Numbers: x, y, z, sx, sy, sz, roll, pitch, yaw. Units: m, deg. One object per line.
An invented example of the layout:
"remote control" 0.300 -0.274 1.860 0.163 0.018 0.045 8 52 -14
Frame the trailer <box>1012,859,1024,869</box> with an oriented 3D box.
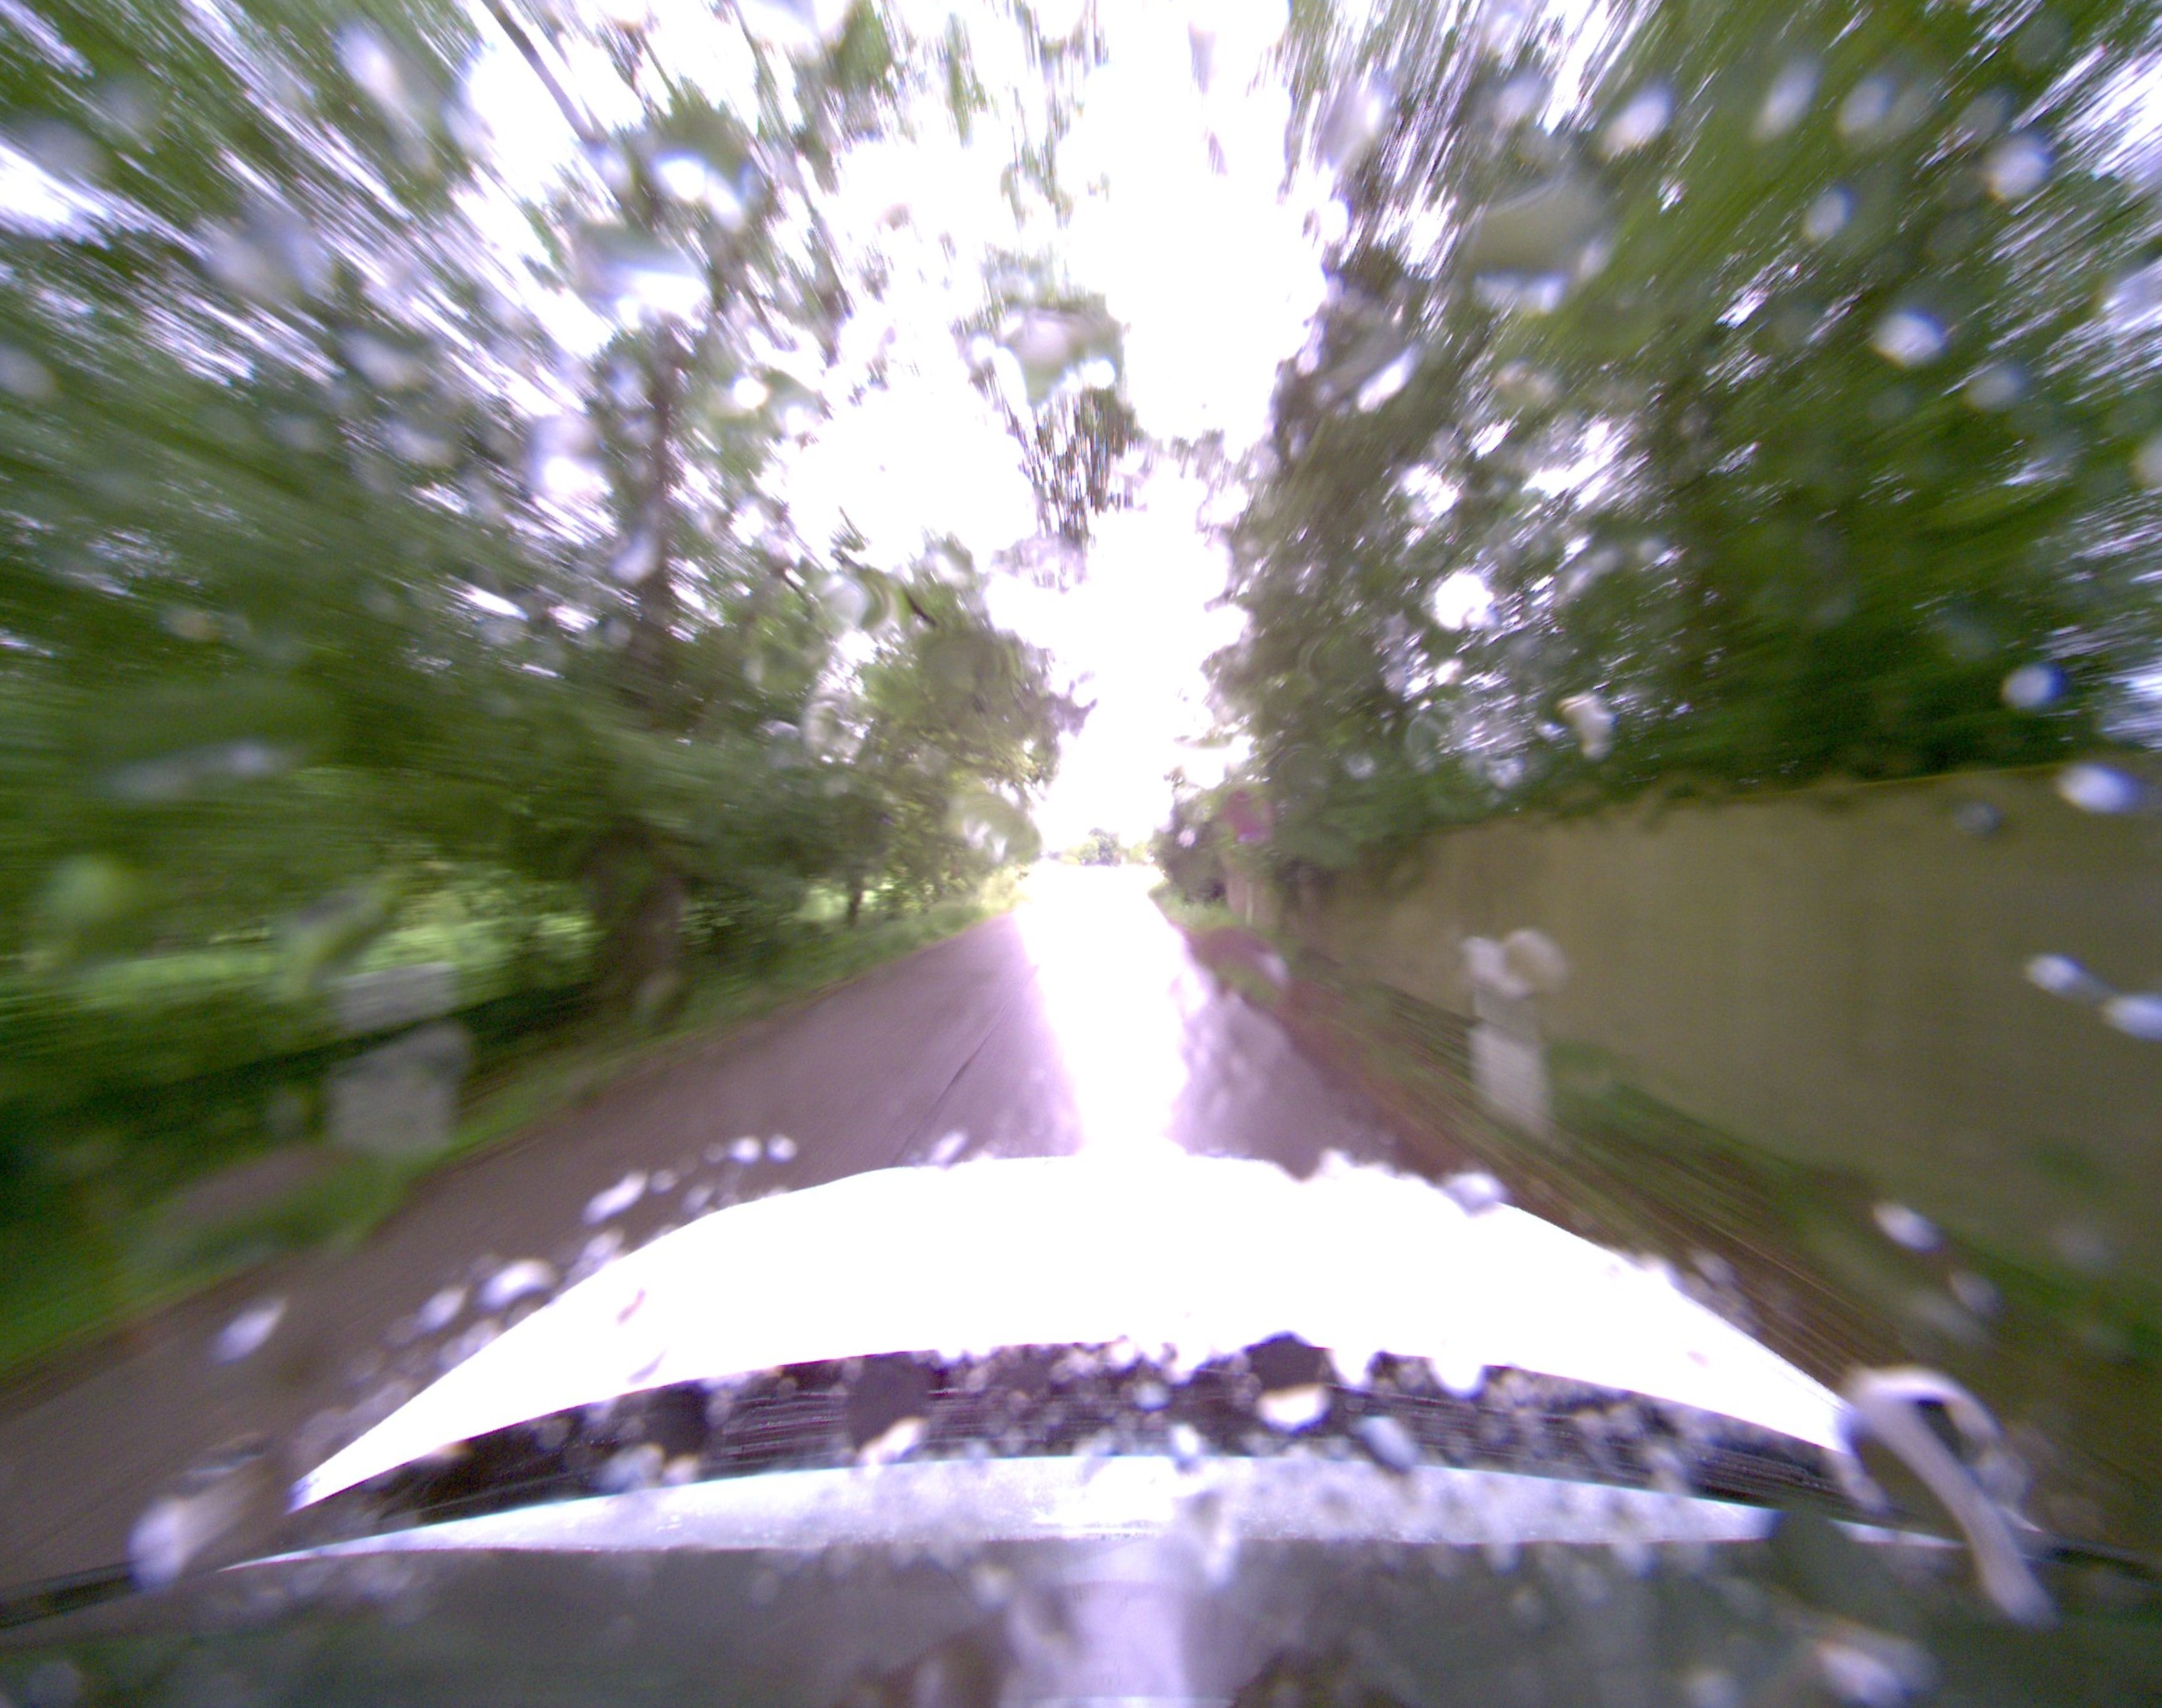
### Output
"trailer" -9.669 1.577 124.806 1.750 1.505 3.081 0 -1 -8
